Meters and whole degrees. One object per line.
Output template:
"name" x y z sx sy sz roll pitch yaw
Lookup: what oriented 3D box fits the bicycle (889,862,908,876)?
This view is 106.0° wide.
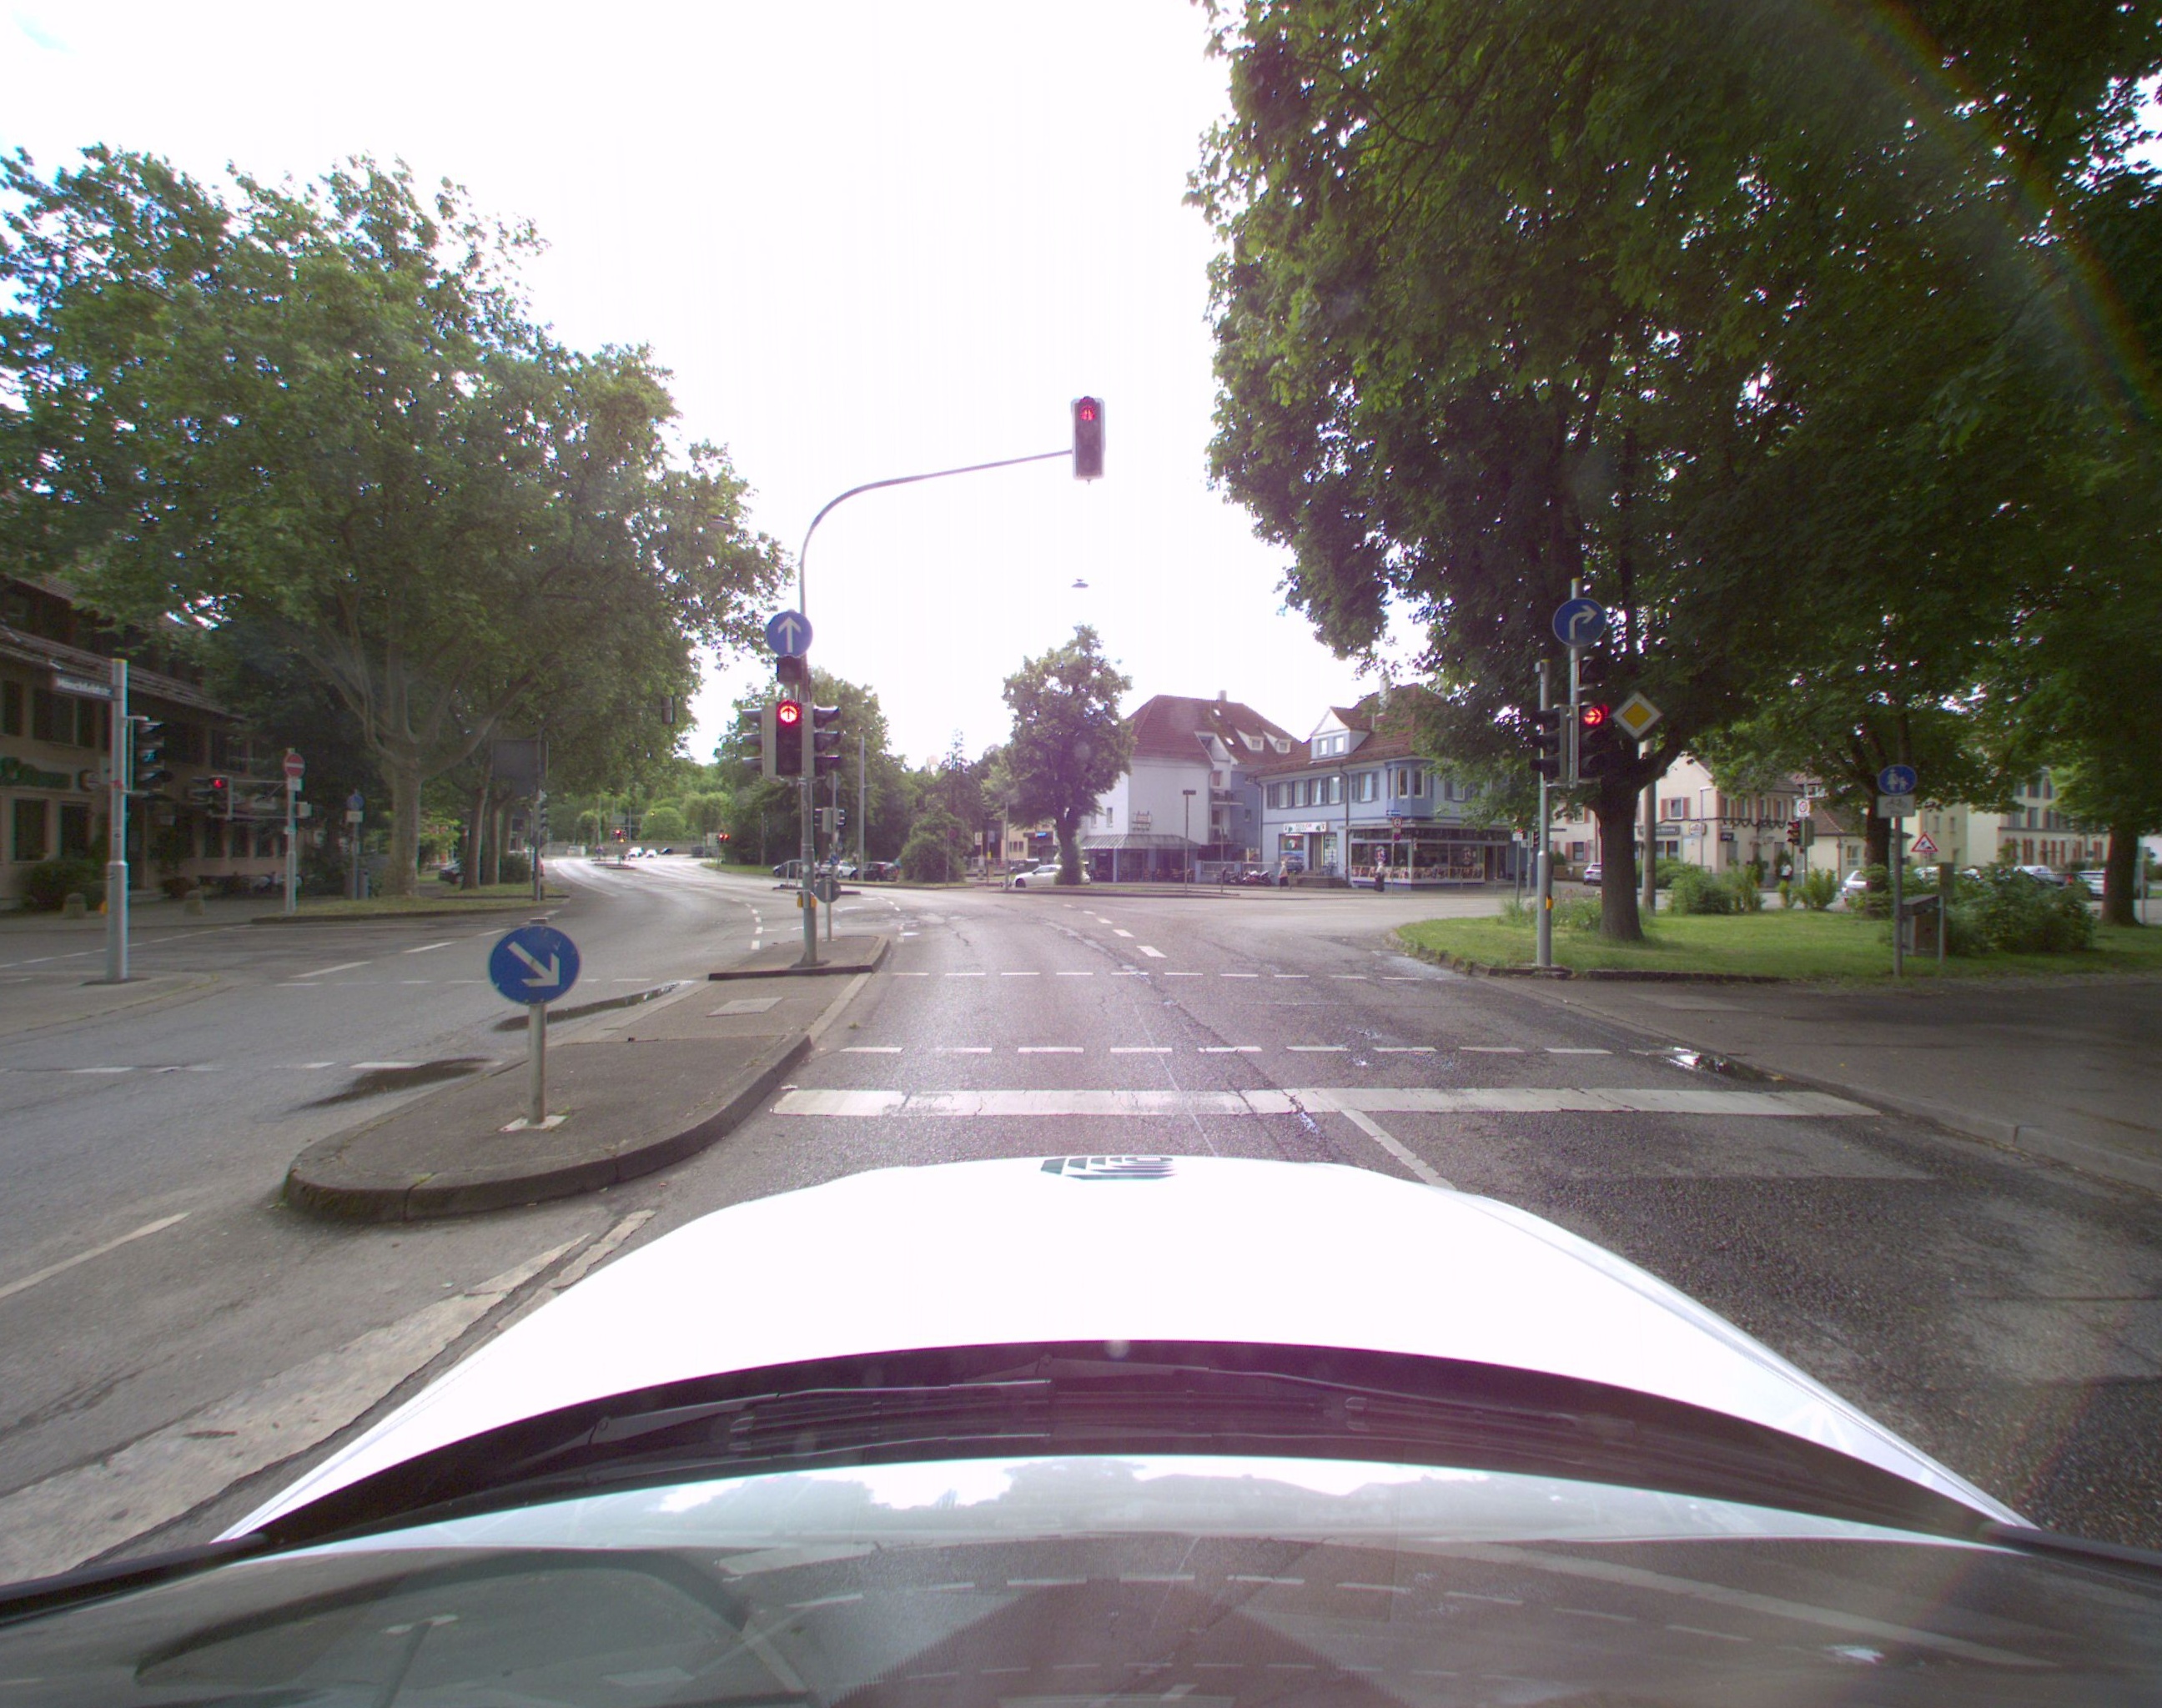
"bicycle" -15.226 1.263 67.817 0.868 1.149 1.958 0 0 9

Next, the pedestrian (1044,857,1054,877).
"pedestrian" -3.184 1.302 80.901 0.838 2.014 1.051 0 -1 -12

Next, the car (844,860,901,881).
"car" -13.822 1.058 54.002 3.285 1.352 1.791 0 0 29

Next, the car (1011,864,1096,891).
"car" -1.592 1.288 45.932 4.654 1.410 1.914 0 -1 37

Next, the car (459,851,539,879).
"car" -36.456 0.684 51.178 4.015 1.684 1.979 0 -1 -34

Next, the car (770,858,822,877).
"car" -22.585 1.031 64.517 3.742 1.465 1.629 0 0 20

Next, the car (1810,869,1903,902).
"car" 31.796 1.275 33.404 3.007 1.267 1.455 0 -1 -17

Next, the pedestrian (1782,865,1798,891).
"pedestrian" 42.176 1.434 48.447 0.504 1.560 0.507 0 -1 -13

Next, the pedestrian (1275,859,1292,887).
"pedestrian" 11.349 1.064 45.596 0.724 1.560 0.773 -1 -1 33

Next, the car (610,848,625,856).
"car" -87.064 -0.375 153.019 3.293 1.486 1.594 -1 -2 43

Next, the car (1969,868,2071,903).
"car" 42.348 1.380 36.750 3.731 1.457 1.640 0 0 -17

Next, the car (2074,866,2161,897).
"car" 52.599 1.370 41.250 3.731 1.457 1.640 0 0 -17

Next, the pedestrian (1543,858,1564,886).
"pedestrian" 26.432 0.988 45.527 0.671 1.560 0.743 0 -1 -13

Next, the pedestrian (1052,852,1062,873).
"pedestrian" -1.758 0.617 59.367 0.538 1.560 0.470 -1 -1 15

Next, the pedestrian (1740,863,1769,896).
"pedestrian" 22.016 0.823 26.619 0.505 1.081 0.514 0 -1 -13

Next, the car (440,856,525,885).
"car" -35.626 0.959 48.609 4.015 1.684 1.979 0 -1 -34

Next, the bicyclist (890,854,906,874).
"bicyclist" -15.229 0.829 67.768 0.909 1.651 0.991 0 -1 10

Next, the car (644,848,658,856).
"car" -83.139 -0.423 157.439 2.988 1.417 1.509 -1 -2 42

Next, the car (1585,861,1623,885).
"car" 32.462 1.142 50.618 1.866 1.391 3.637 0 0 31

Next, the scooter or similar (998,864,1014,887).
"scooter or similar" -3.949 1.141 42.846 0.439 1.175 1.442 -1 -1 11

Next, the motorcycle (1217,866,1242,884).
"motorcycle" 9.138 1.310 50.046 1.441 1.088 0.527 -1 -1 37

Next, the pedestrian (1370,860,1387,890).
"pedestrian" 15.515 1.104 42.457 0.687 1.560 0.671 -1 -1 33

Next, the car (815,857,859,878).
"car" -20.130 1.090 67.408 1.848 1.640 3.768 0 0 13

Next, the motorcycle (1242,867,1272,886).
"motorcycle" 10.431 1.321 48.243 1.609 1.088 0.631 -1 -1 34

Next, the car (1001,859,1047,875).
"car" -5.315 1.238 75.917 3.948 1.442 1.742 0 0 -18

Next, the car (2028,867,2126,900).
"car" 47.082 1.371 38.512 3.731 1.457 1.640 0 0 -17
